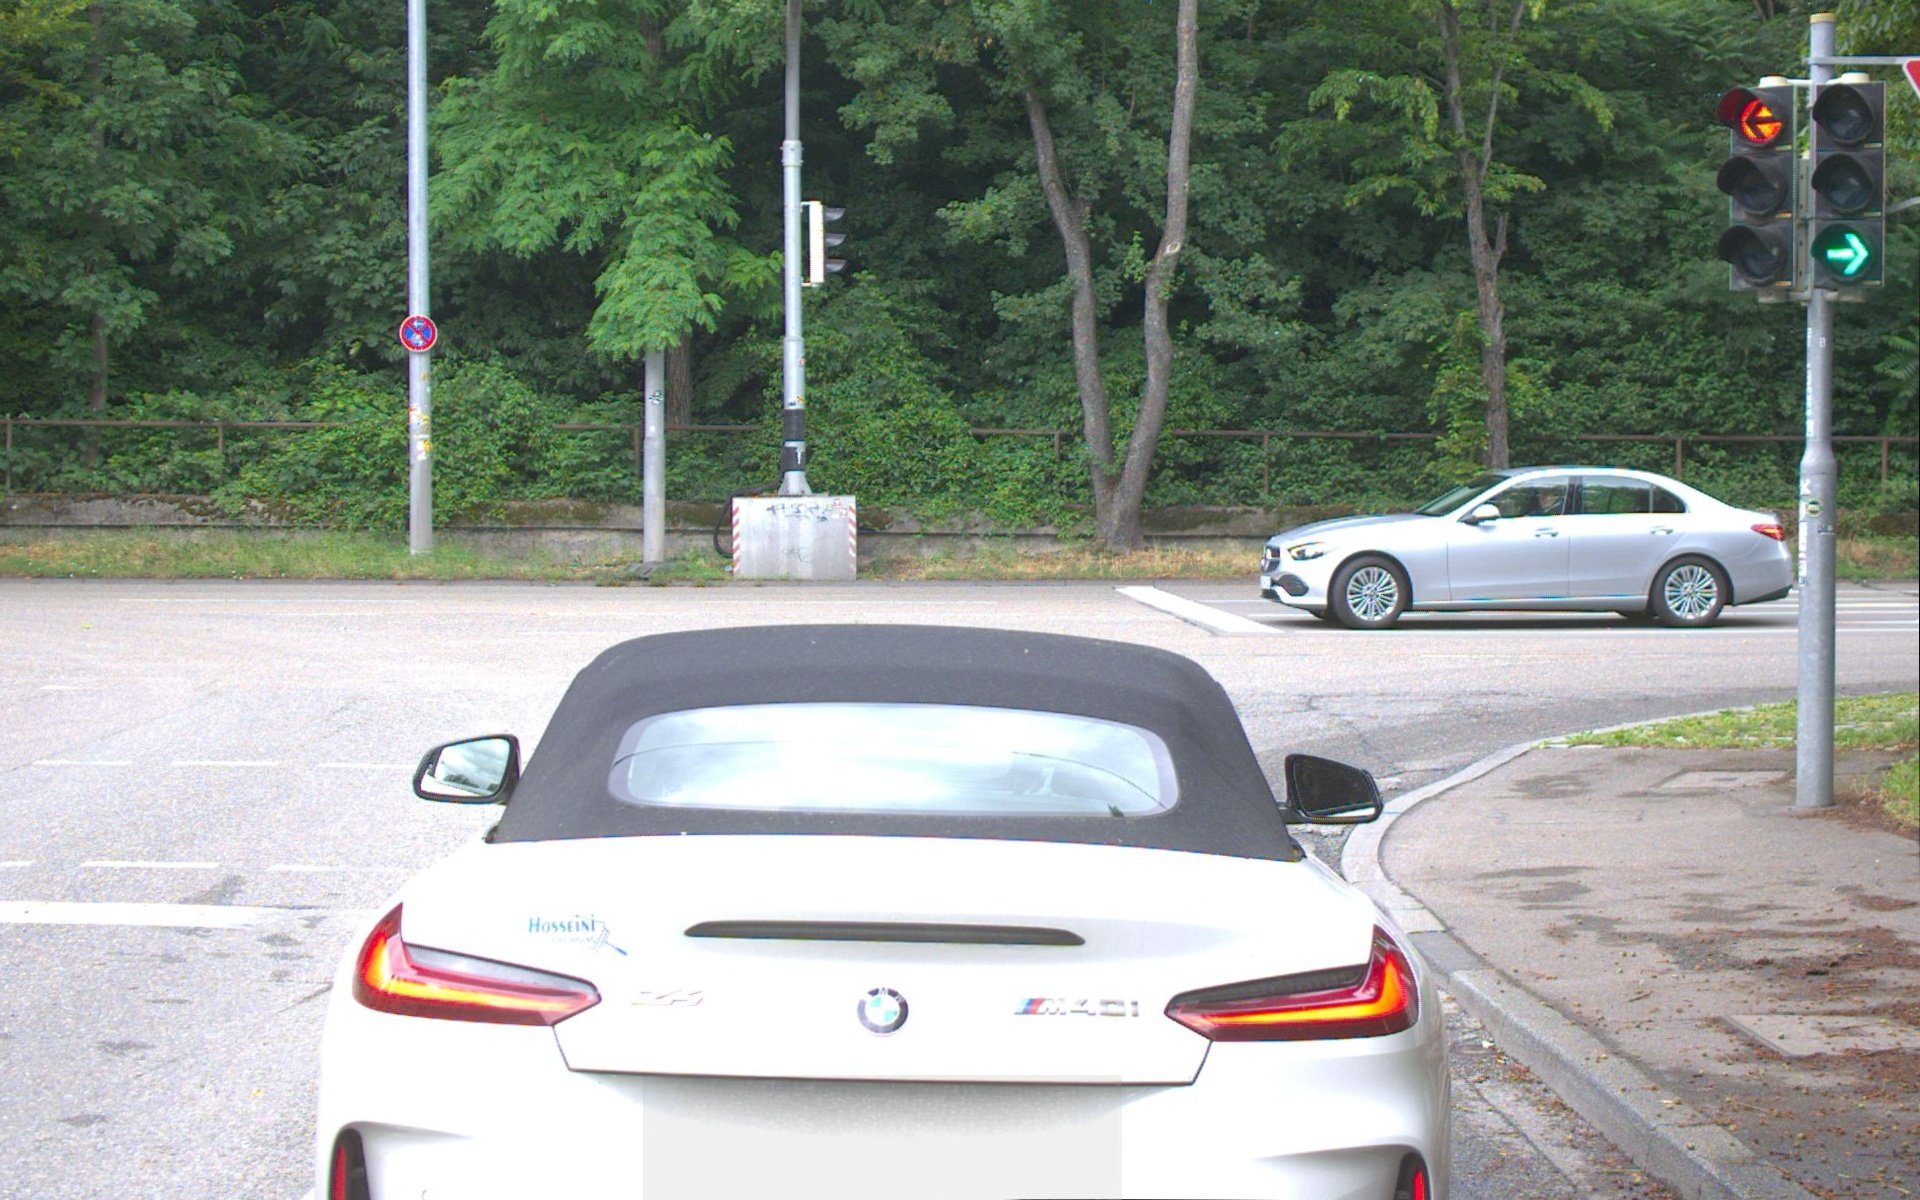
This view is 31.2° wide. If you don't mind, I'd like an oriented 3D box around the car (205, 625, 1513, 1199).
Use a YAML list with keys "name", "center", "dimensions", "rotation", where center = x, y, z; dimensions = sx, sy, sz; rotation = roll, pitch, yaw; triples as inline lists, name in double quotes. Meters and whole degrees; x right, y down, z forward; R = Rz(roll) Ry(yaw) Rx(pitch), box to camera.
- name: "car"
  center: [-0.234, 0.704, 6.853]
  dimensions: [1.827, 1.253, 4.000]
  rotation: [2, 0, -3]

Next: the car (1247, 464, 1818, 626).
- name: "car"
  center: [5.082, -0.514, 30.937]
  dimensions: [4.751, 1.329, 1.834]
  rotation: [0, 3, -3]
